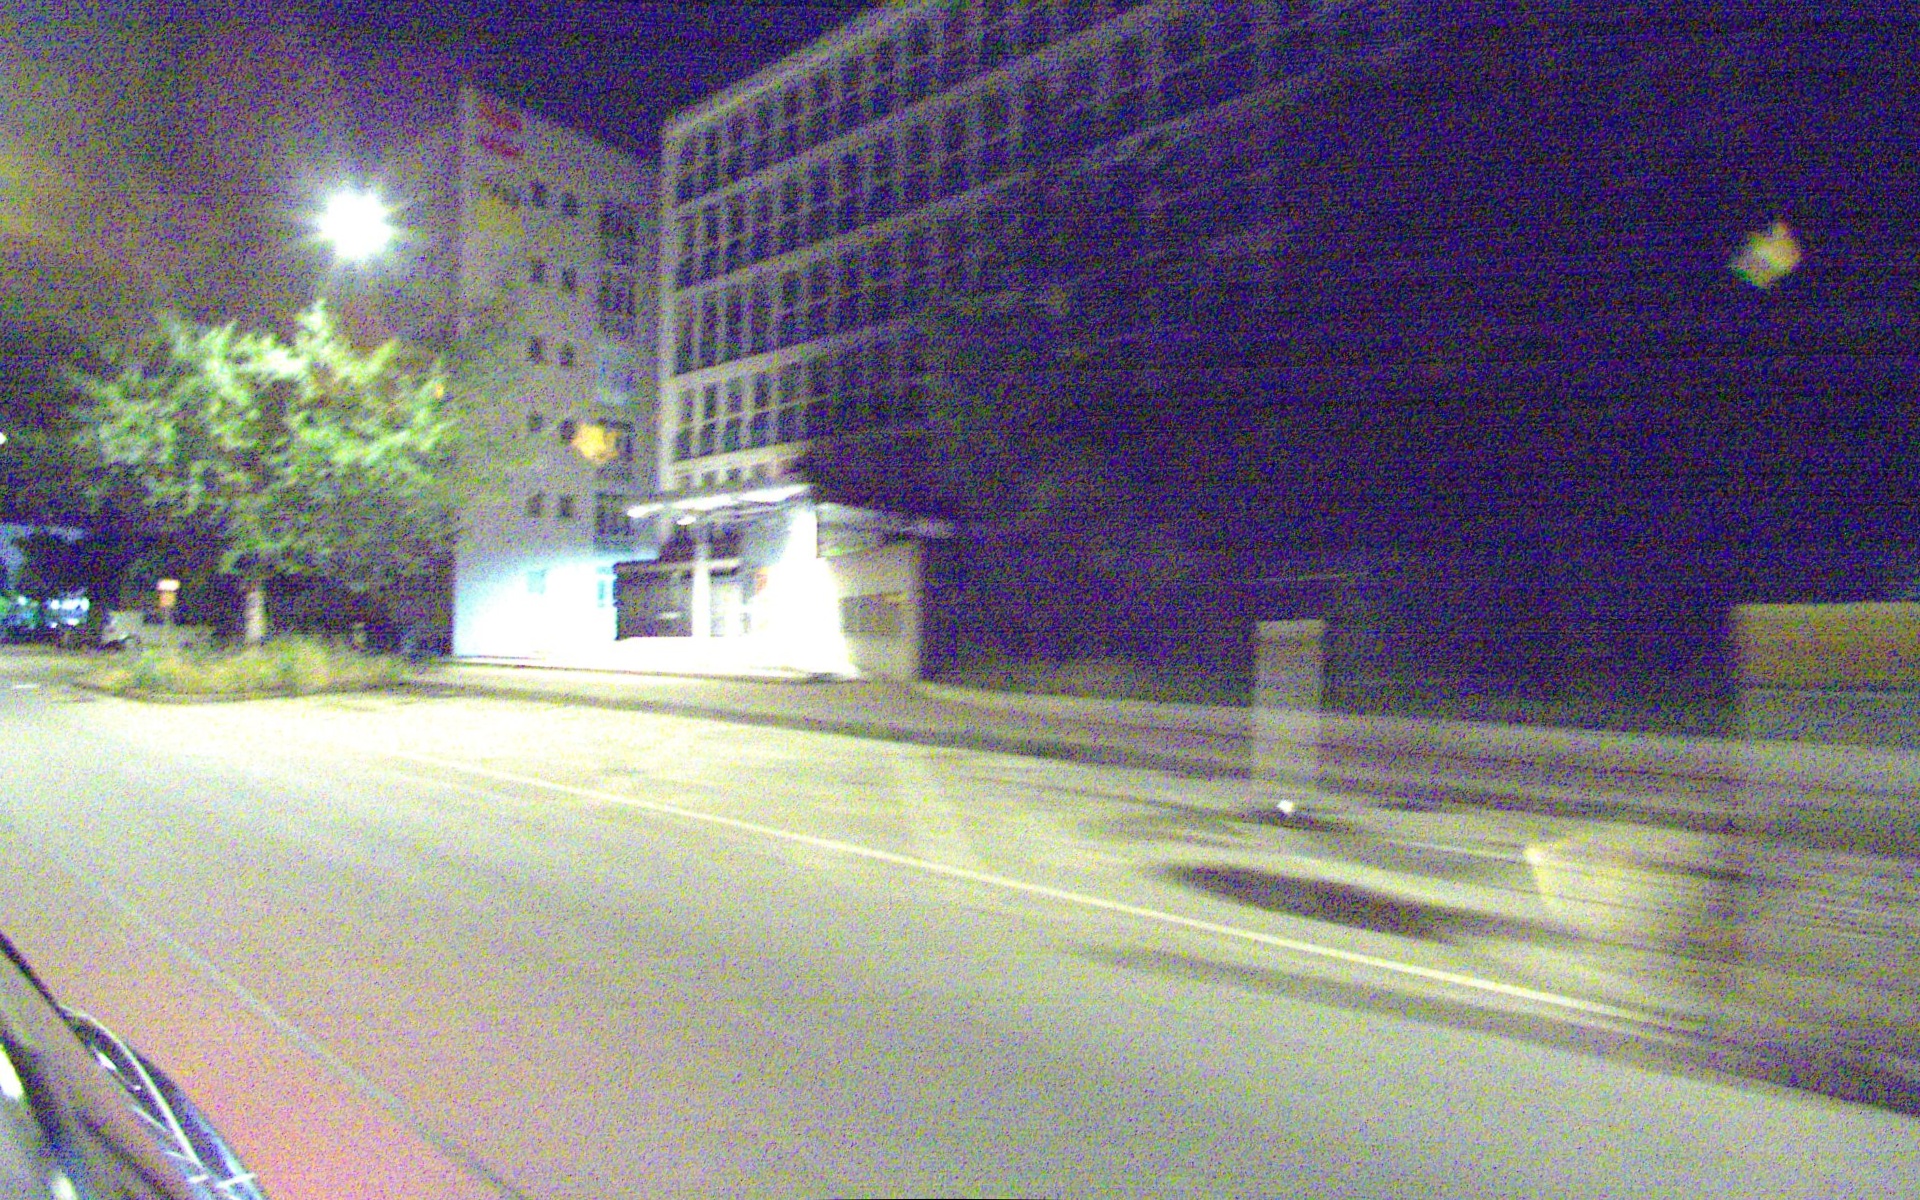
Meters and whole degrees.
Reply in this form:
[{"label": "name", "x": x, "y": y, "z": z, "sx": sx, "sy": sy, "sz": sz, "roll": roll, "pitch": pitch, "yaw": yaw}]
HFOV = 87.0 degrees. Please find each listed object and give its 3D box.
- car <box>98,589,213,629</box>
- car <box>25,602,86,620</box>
[{"label": "car", "x": -41.821, "y": 0.494, "z": 52.686, "sx": 1.998, "sy": 1.987, "sz": 4.389, "roll": -1, "pitch": -1, "yaw": 38}, {"label": "car", "x": -84.651, "y": 1.055, "z": 94.773, "sx": 1.803, "sy": 1.474, "sz": 3.952, "roll": -1, "pitch": 2, "yaw": 36}]
